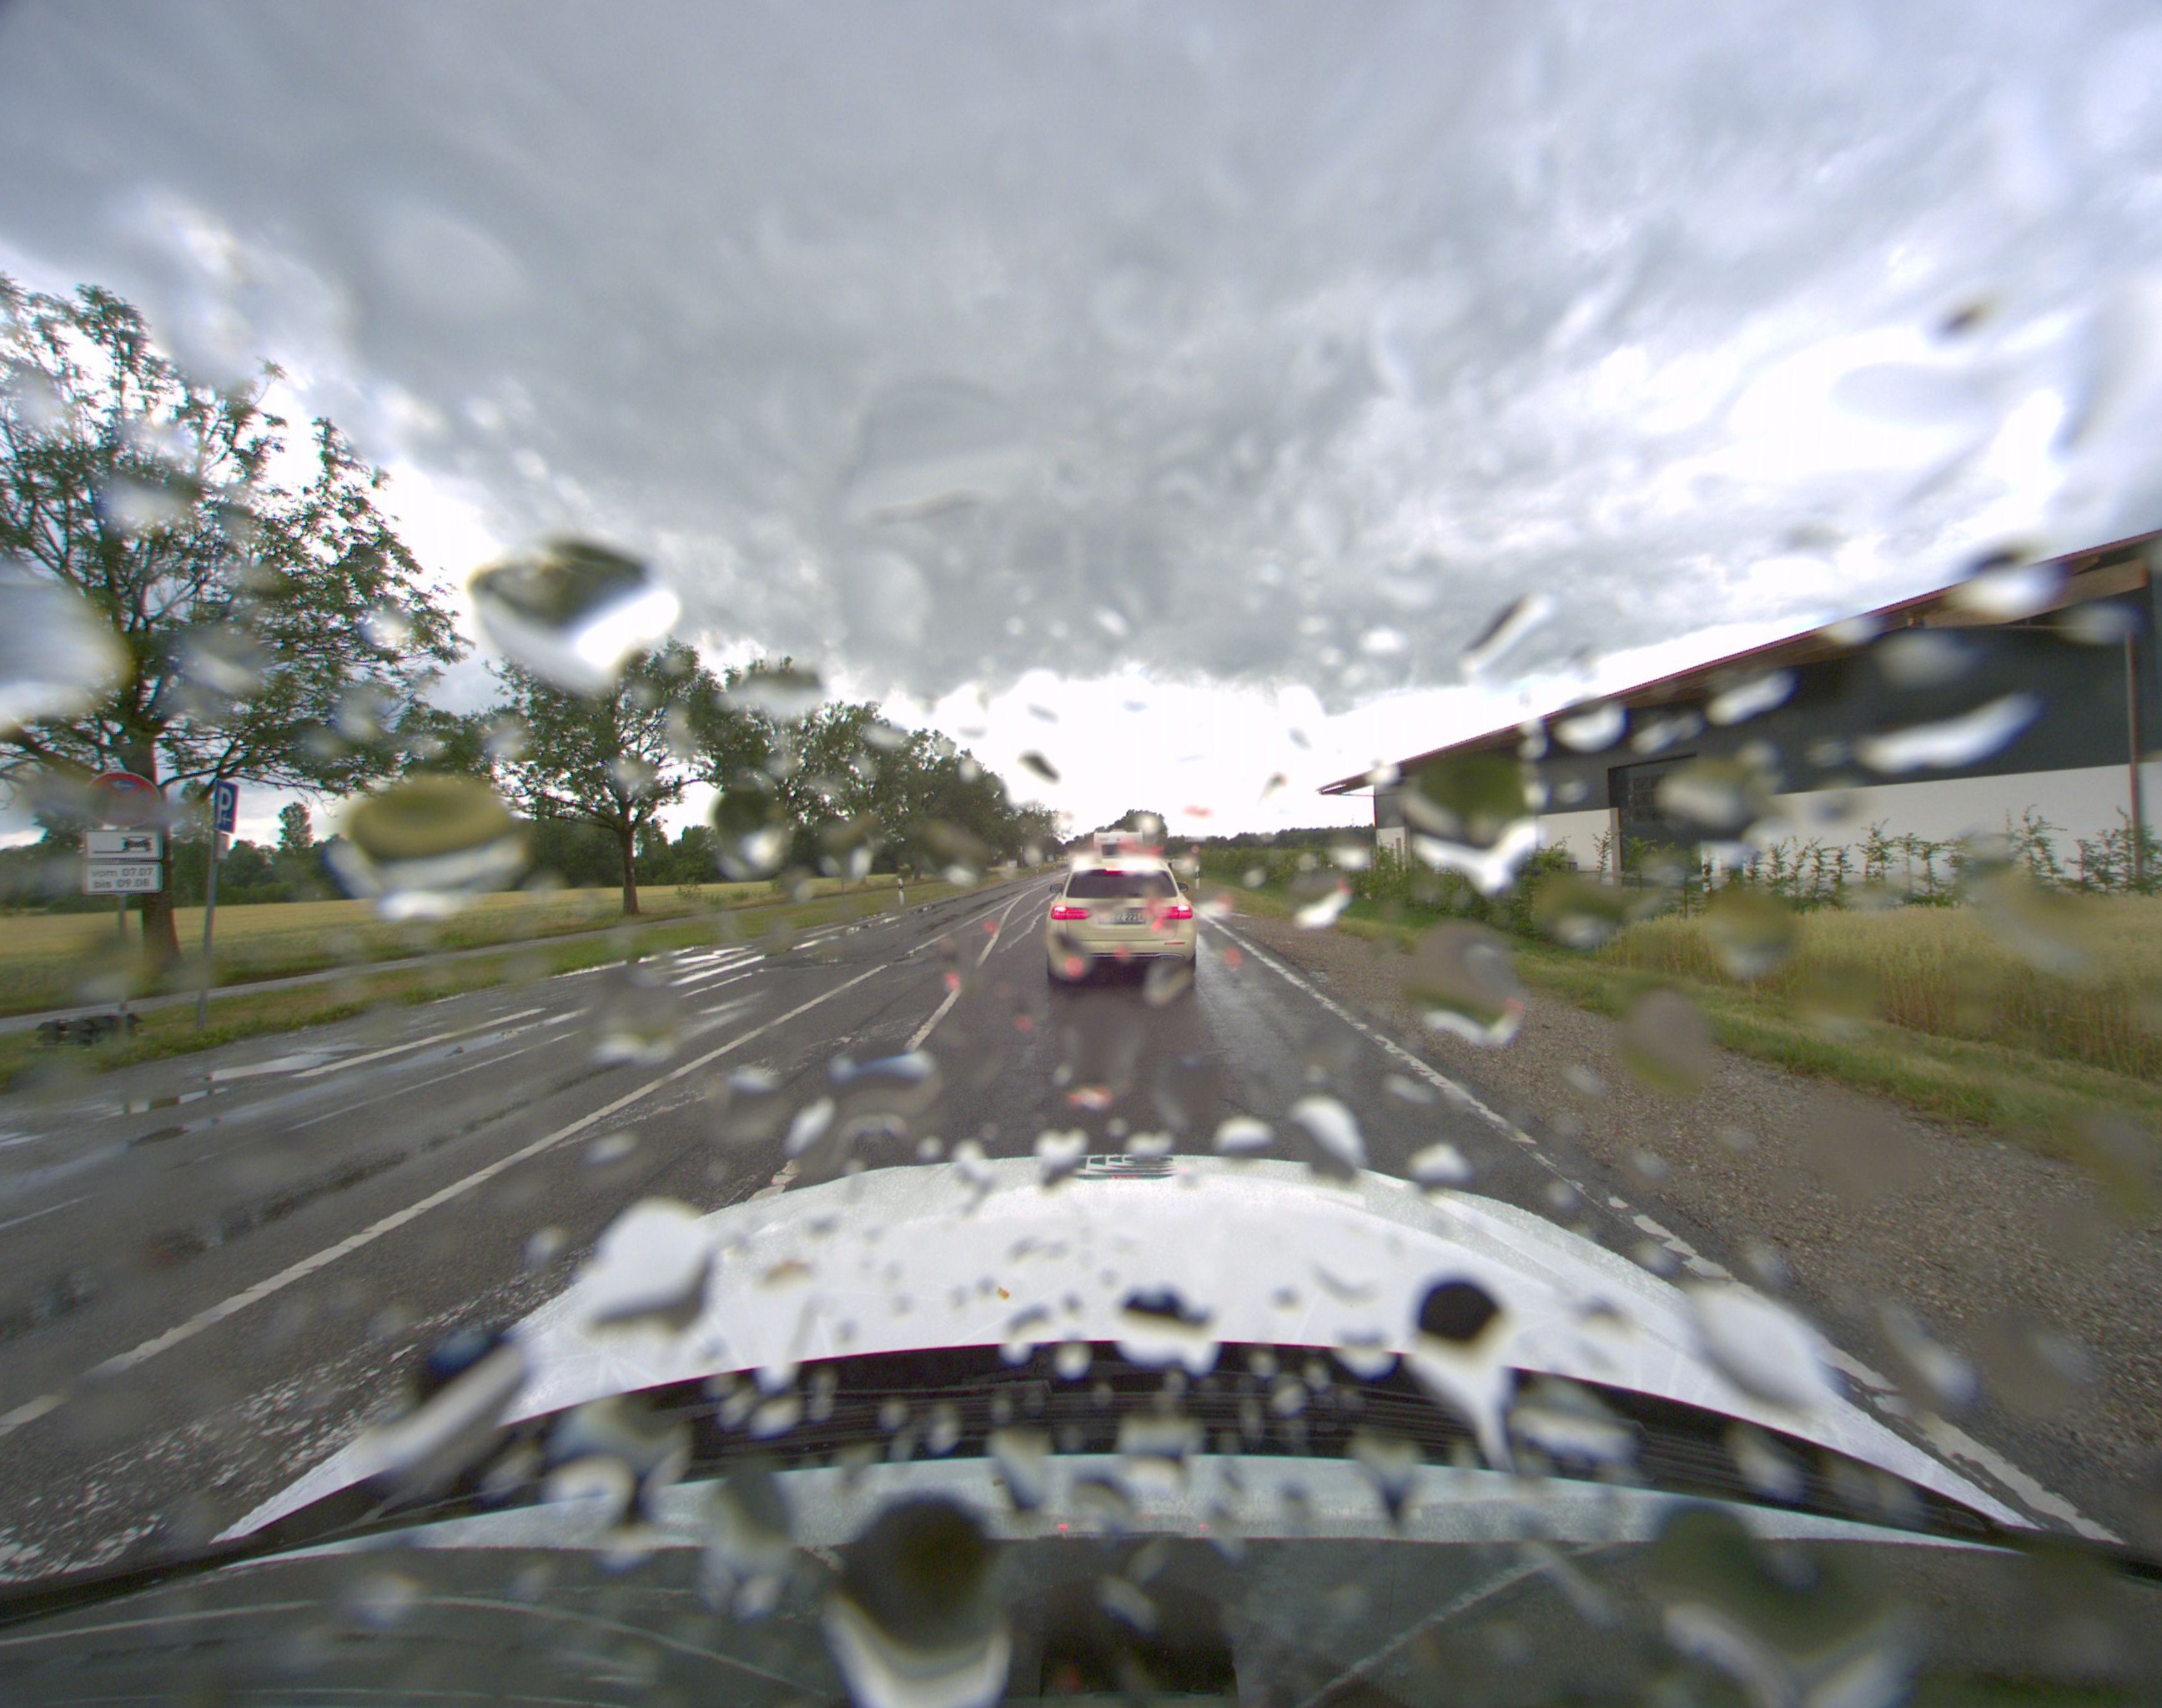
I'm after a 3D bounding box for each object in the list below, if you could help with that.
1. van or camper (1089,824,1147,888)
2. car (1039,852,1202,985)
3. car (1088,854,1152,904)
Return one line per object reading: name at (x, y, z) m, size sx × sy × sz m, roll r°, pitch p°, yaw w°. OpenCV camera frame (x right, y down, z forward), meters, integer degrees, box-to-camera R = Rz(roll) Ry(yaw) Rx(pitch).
van or camper at (1.866, 0.094, 40.228) m, size 2.486 × 2.831 × 5.938 m, roll -3°, pitch 0°, yaw 3°
car at (0.534, 0.723, 11.108) m, size 1.790 × 1.464 × 4.033 m, roll -1°, pitch 0°, yaw 3°
car at (1.220, 0.751, 26.390) m, size 1.887 × 1.429 × 3.929 m, roll -1°, pitch 0°, yaw 2°
